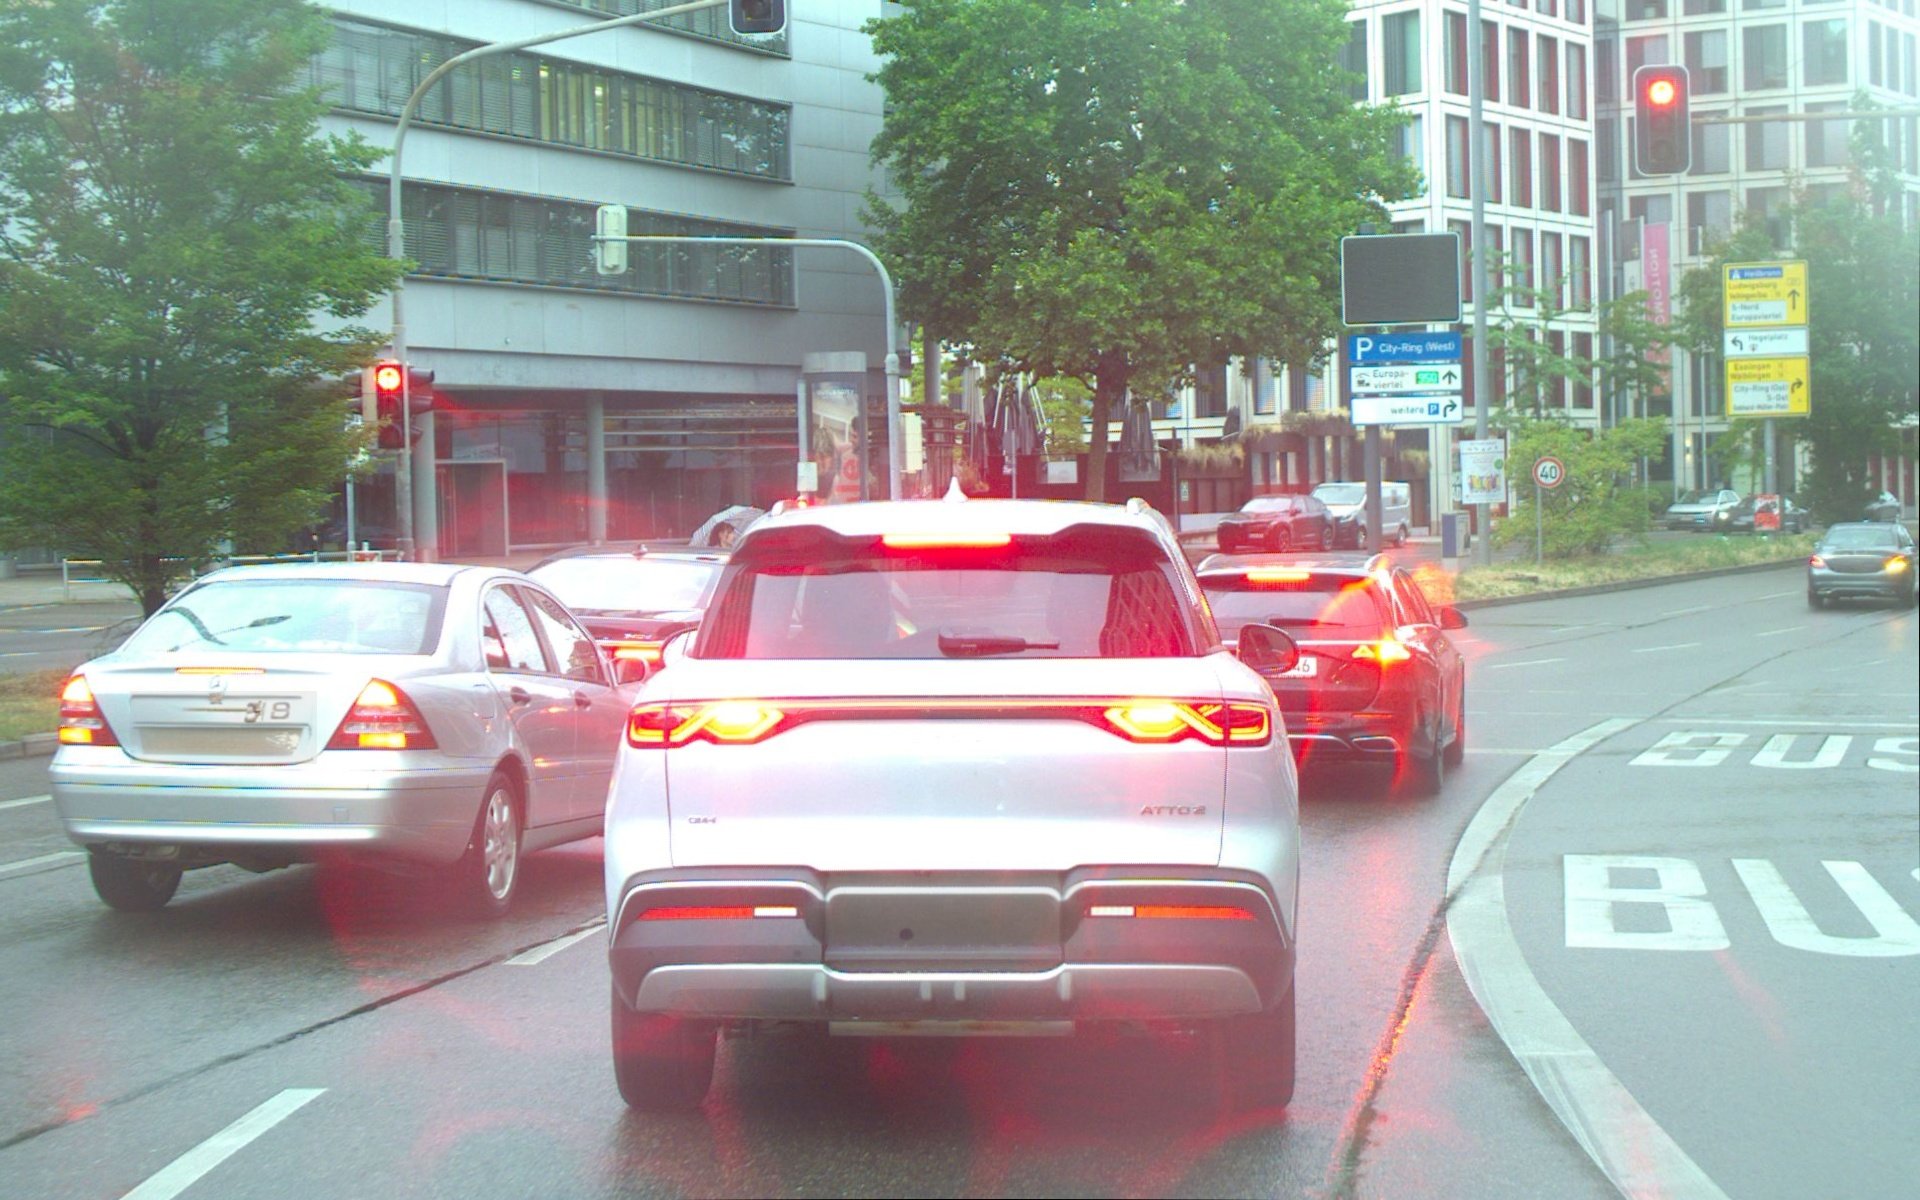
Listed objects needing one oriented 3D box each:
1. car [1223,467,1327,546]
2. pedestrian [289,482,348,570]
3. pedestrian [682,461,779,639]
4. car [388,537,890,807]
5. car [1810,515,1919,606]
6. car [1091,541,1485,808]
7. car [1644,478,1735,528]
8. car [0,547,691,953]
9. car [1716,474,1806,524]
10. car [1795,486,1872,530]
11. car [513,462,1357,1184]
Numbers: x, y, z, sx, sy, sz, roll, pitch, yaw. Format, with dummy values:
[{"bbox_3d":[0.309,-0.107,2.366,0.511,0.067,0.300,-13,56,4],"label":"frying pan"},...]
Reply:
[{"bbox_3d":[8.849,-2.607,96.257,1.739,2.154,4.489,1,1,21],"label":"car"},{"bbox_3d":[-12.588,-1.447,67.451,0.728,1.721,0.923,0,1,24],"label":"pedestrian"},{"bbox_3d":[-2.261,-0.498,33.970,0.922,1.732,0.730,0,1,-2],"label":"pedestrian"},{"bbox_3d":[-1.901,0.371,21.699,1.956,1.525,3.998,0,1,14],"label":"car"},{"bbox_3d":[15.906,-0.713,60.031,1.911,1.505,4.353,1,2,16],"label":"car"},{"bbox_3d":[2.194,0.391,21.982,1.956,1.525,3.998,0,1,14],"label":"car"},{"bbox_3d":[26.422,-3.529,124.468,1.997,1.700,4.302,1,3,30],"label":"car"},{"bbox_3d":[-2.507,0.530,14.998,1.683,1.481,4.195,0,1,10],"label":"car"},{"bbox_3d":[28.753,-3.644,123.314,1.997,1.700,3.993,1,3,31],"label":"car"},{"bbox_3d":[36.287,-3.841,142.739,1.997,1.700,4.302,1,3,30],"label":"car"},{"bbox_3d":[-0.091,0.481,10.416,1.993,1.703,4.483,0,1,-1],"label":"car"}]
